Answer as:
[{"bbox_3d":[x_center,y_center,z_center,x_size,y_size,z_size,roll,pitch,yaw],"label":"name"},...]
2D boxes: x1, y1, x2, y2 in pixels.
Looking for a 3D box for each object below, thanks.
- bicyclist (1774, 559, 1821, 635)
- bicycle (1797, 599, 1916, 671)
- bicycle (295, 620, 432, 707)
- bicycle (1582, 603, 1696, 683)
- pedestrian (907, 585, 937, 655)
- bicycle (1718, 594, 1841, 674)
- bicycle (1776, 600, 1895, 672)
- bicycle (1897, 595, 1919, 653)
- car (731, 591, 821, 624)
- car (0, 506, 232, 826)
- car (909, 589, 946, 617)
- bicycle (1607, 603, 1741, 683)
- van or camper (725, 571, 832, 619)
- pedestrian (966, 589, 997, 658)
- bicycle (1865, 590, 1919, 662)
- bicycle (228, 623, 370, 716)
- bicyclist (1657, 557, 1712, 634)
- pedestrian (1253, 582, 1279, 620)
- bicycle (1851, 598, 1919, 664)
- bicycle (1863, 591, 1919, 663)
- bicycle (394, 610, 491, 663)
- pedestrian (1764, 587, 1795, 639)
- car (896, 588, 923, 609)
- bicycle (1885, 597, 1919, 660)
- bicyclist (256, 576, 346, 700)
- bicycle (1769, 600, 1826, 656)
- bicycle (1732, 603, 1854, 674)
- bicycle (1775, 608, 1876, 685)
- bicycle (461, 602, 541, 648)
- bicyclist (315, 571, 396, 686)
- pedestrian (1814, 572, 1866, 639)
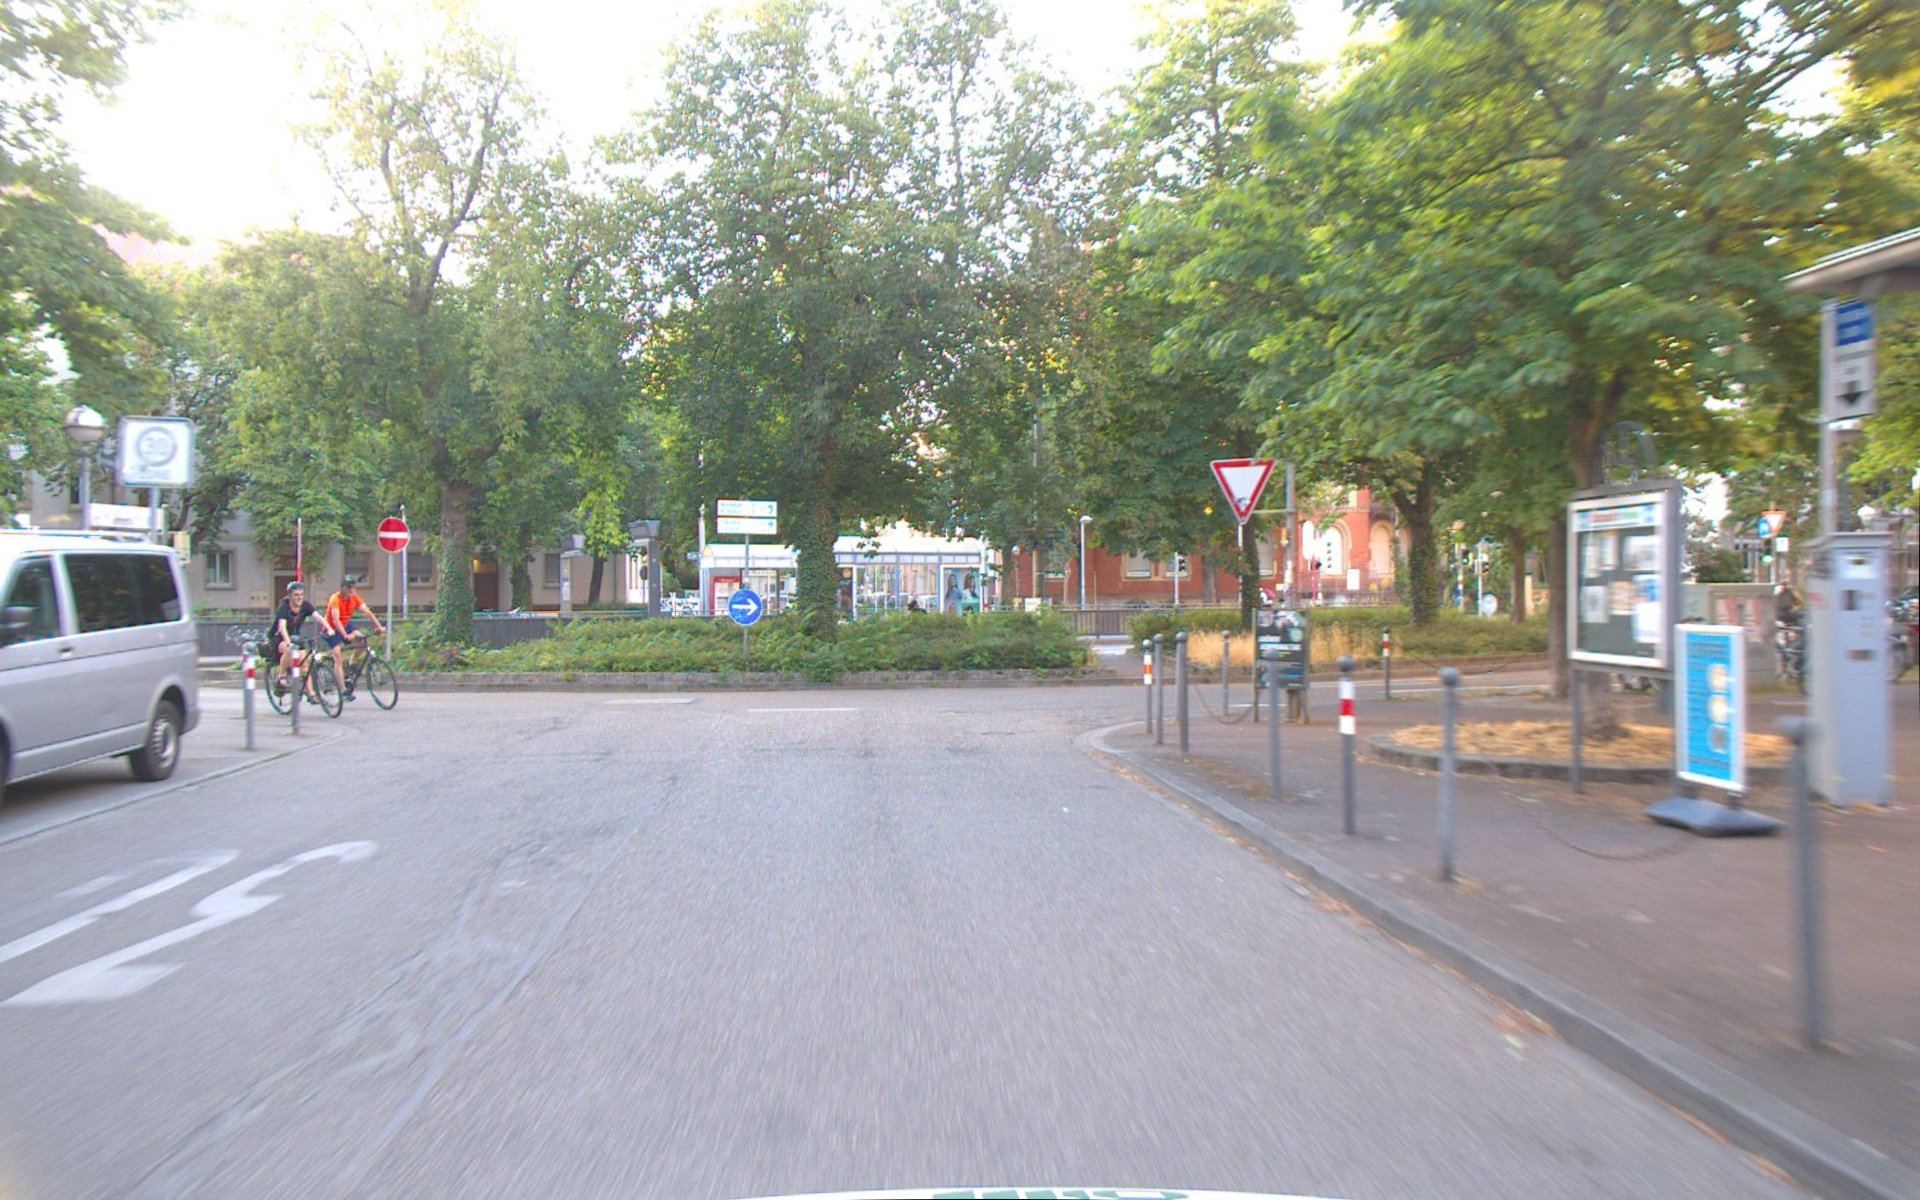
[{"bbox_3d":[17.255,-0.071,34.067,0.695,1.529,0.915,0,1,39],"label":"bicyclist"},{"bbox_3d":[13.956,0.533,25.768,0.415,1.095,1.583,-1,0,-41],"label":"bicycle"},{"bbox_3d":[-8.156,0.845,22.589,1.970,1.126,0.650,0,0,30],"label":"bicycle"},{"bbox_3d":[9.403,0.577,22.962,0.425,1.058,1.595,-1,0,-25],"label":"bicycle"},{"bbox_3d":[-0.800,0.421,34.894,0.604,1.456,0.655,-1,0,-3],"label":"pedestrian"},{"bbox_3d":[12.372,0.502,25.012,0.549,1.168,1.586,-1,0,-37],"label":"bicycle"},{"bbox_3d":[13.558,0.550,25.654,0.415,1.082,1.583,-1,0,-41],"label":"bicycle"},{"bbox_3d":[17.548,0.420,29.064,0.416,1.032,1.825,-1,0,-45],"label":"bicycle"},{"bbox_3d":[-10.217,0.419,91.613,4.858,1.733,1.996,1,0,-9],"label":"car"},{"bbox_3d":[-7.373,0.402,12.247,2.000,2.093,5.001,1,0,-4],"label":"car"},{"bbox_3d":[-2.095,0.186,104.683,1.955,1.733,4.714,1,0,-6],"label":"car"},{"bbox_3d":[9.845,0.572,22.880,0.425,1.058,1.884,-1,0,-25],"label":"bicycle"},{"bbox_3d":[-12.559,-0.340,114.216,7.229,3.137,2.668,1,0,-9],"label":"van or camper"},{"bbox_3d":[0.462,0.493,35.260,0.604,1.456,0.655,-1,0,-3],"label":"pedestrian"},{"bbox_3d":[16.576,0.435,28.230,1.887,1.221,0.549,-1,0,43],"label":"bicycle"},{"bbox_3d":[-8.523,0.876,21.302,1.973,1.126,0.721,0,0,34],"label":"bicycle"},{"bbox_3d":[13.694,-0.085,31.264,0.688,1.436,0.859,-1,0,44],"label":"bicyclist"},{"bbox_3d":[12.783,0.033,68.996,0.849,1.552,0.713,-1,0,34],"label":"pedestrian"},{"bbox_3d":[15.799,0.512,27.409,0.444,1.082,1.766,-1,0,-45],"label":"bicycle"},{"bbox_3d":[16.128,0.448,27.649,0.444,1.188,1.766,-1,0,-45],"label":"bicycle"},{"bbox_3d":[-12.175,0.851,38.925,2.084,1.171,0.680,-1,0,-28],"label":"bicycle"},{"bbox_3d":[29.060,0.467,58.644,0.852,1.826,0.921,-1,0,35],"label":"pedestrian"},{"bbox_3d":[-4.315,-0.126,140.196,1.955,1.733,4.714,1,0,-6],"label":"car"},{"bbox_3d":[17.166,0.490,28.671,1.887,1.083,0.549,-1,0,43],"label":"bicycle"},{"bbox_3d":[-8.462,0.480,21.256,0.849,1.552,0.713,-1,0,34],"label":"bicyclist"},{"bbox_3d":[17.252,0.555,34.067,0.695,1.089,1.826,0,1,39],"label":"bicycle"},{"bbox_3d":[12.714,0.570,25.287,0.549,1.038,1.586,-1,0,-37],"label":"bicycle"},{"bbox_3d":[11.755,0.611,22.441,1.705,0.986,0.427,-1,0,-33],"label":"bicycle"},{"bbox_3d":[-11.312,0.606,40.753,1.827,1.070,0.542,-1,0,-27],"label":"bicycle"},{"bbox_3d":[-8.279,0.380,22.659,0.848,1.552,0.653,-1,0,30],"label":"bicyclist"},{"bbox_3d":[28.380,0.177,53.322,1.040,2.122,1.010,-2,0,-15],"label":"pedestrian"}]
